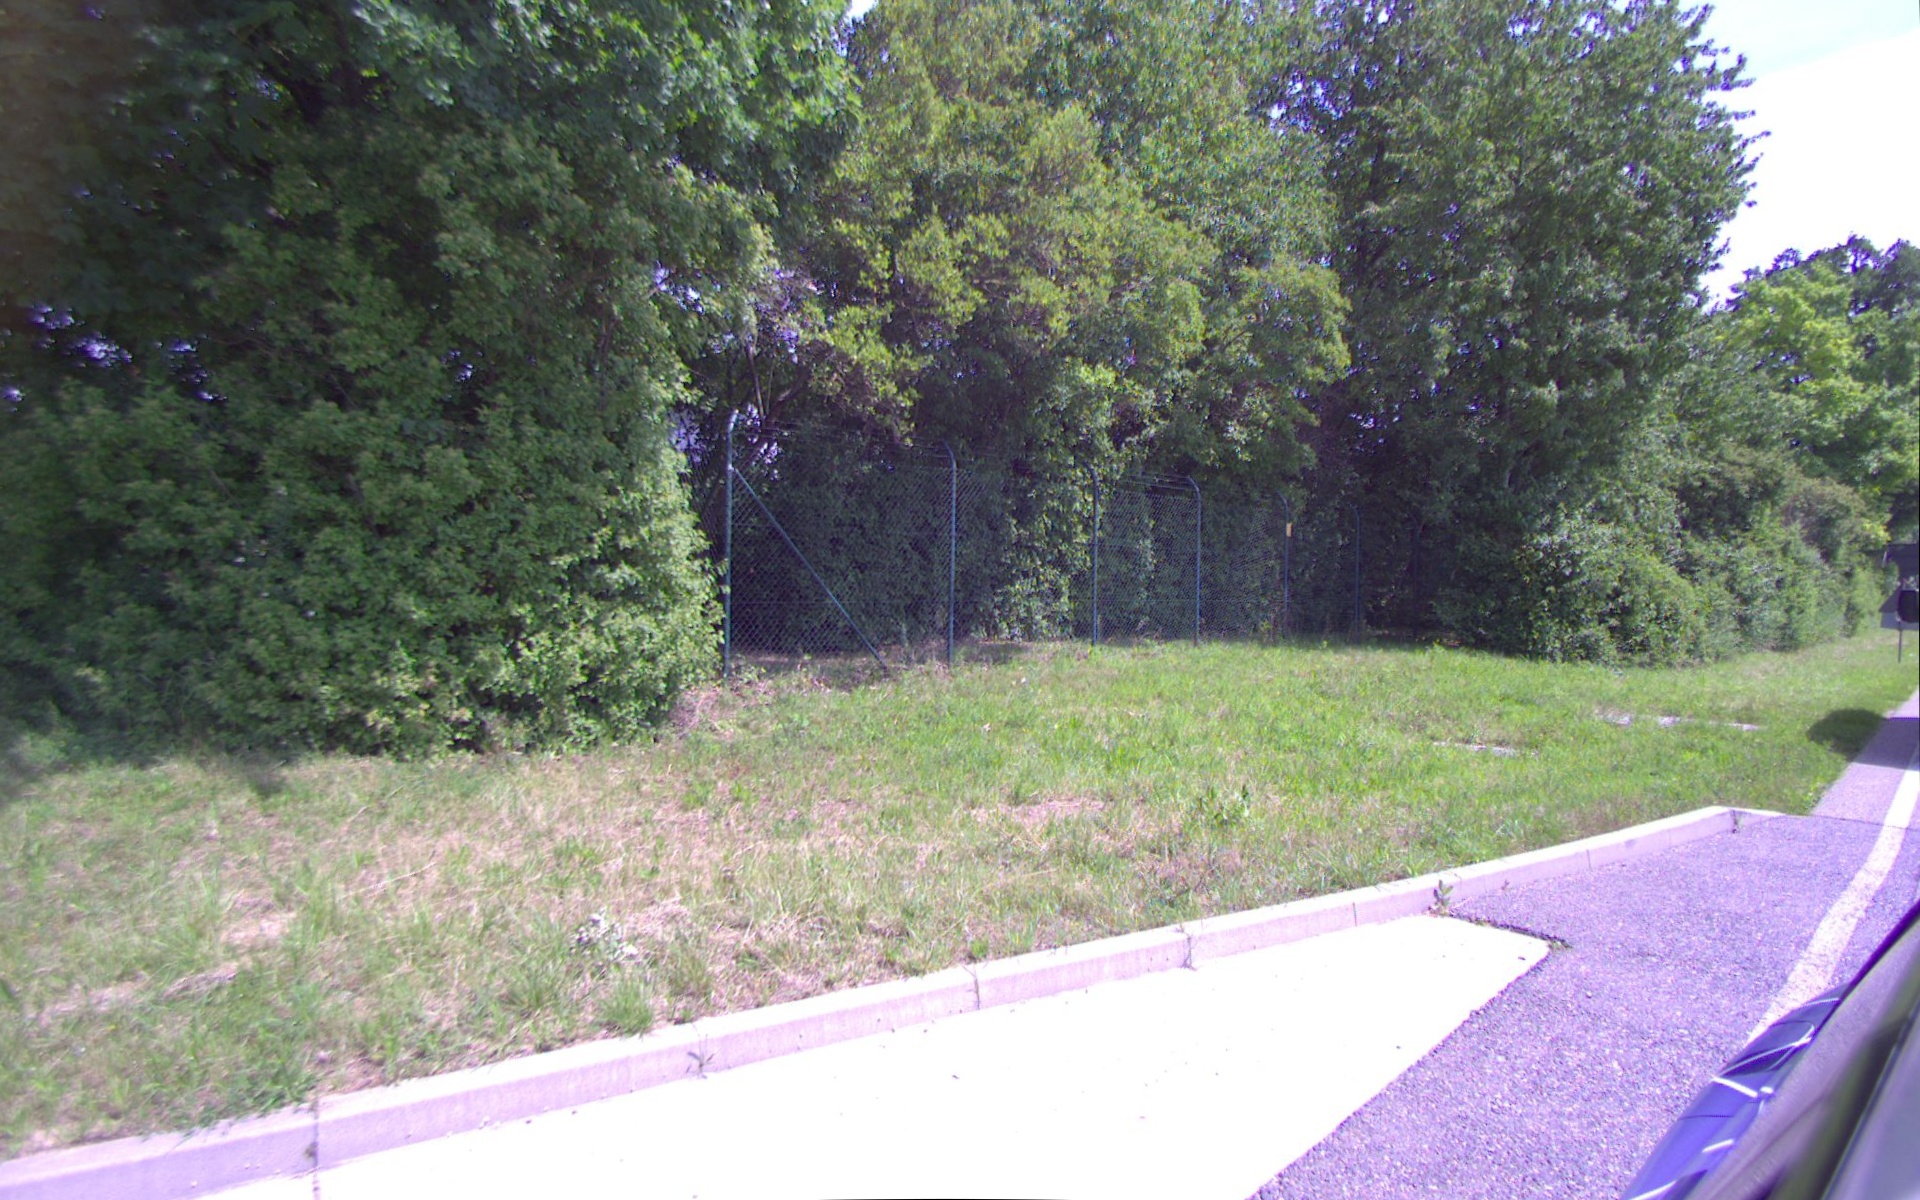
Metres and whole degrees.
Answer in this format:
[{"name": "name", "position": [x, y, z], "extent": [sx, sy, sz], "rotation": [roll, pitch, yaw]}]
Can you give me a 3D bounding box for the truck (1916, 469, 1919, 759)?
[{"name": "truck", "position": [11.972, 0.123, 10.718], "extent": [7.099, 2.615, 2.021], "rotation": [0, 0, -41]}]
